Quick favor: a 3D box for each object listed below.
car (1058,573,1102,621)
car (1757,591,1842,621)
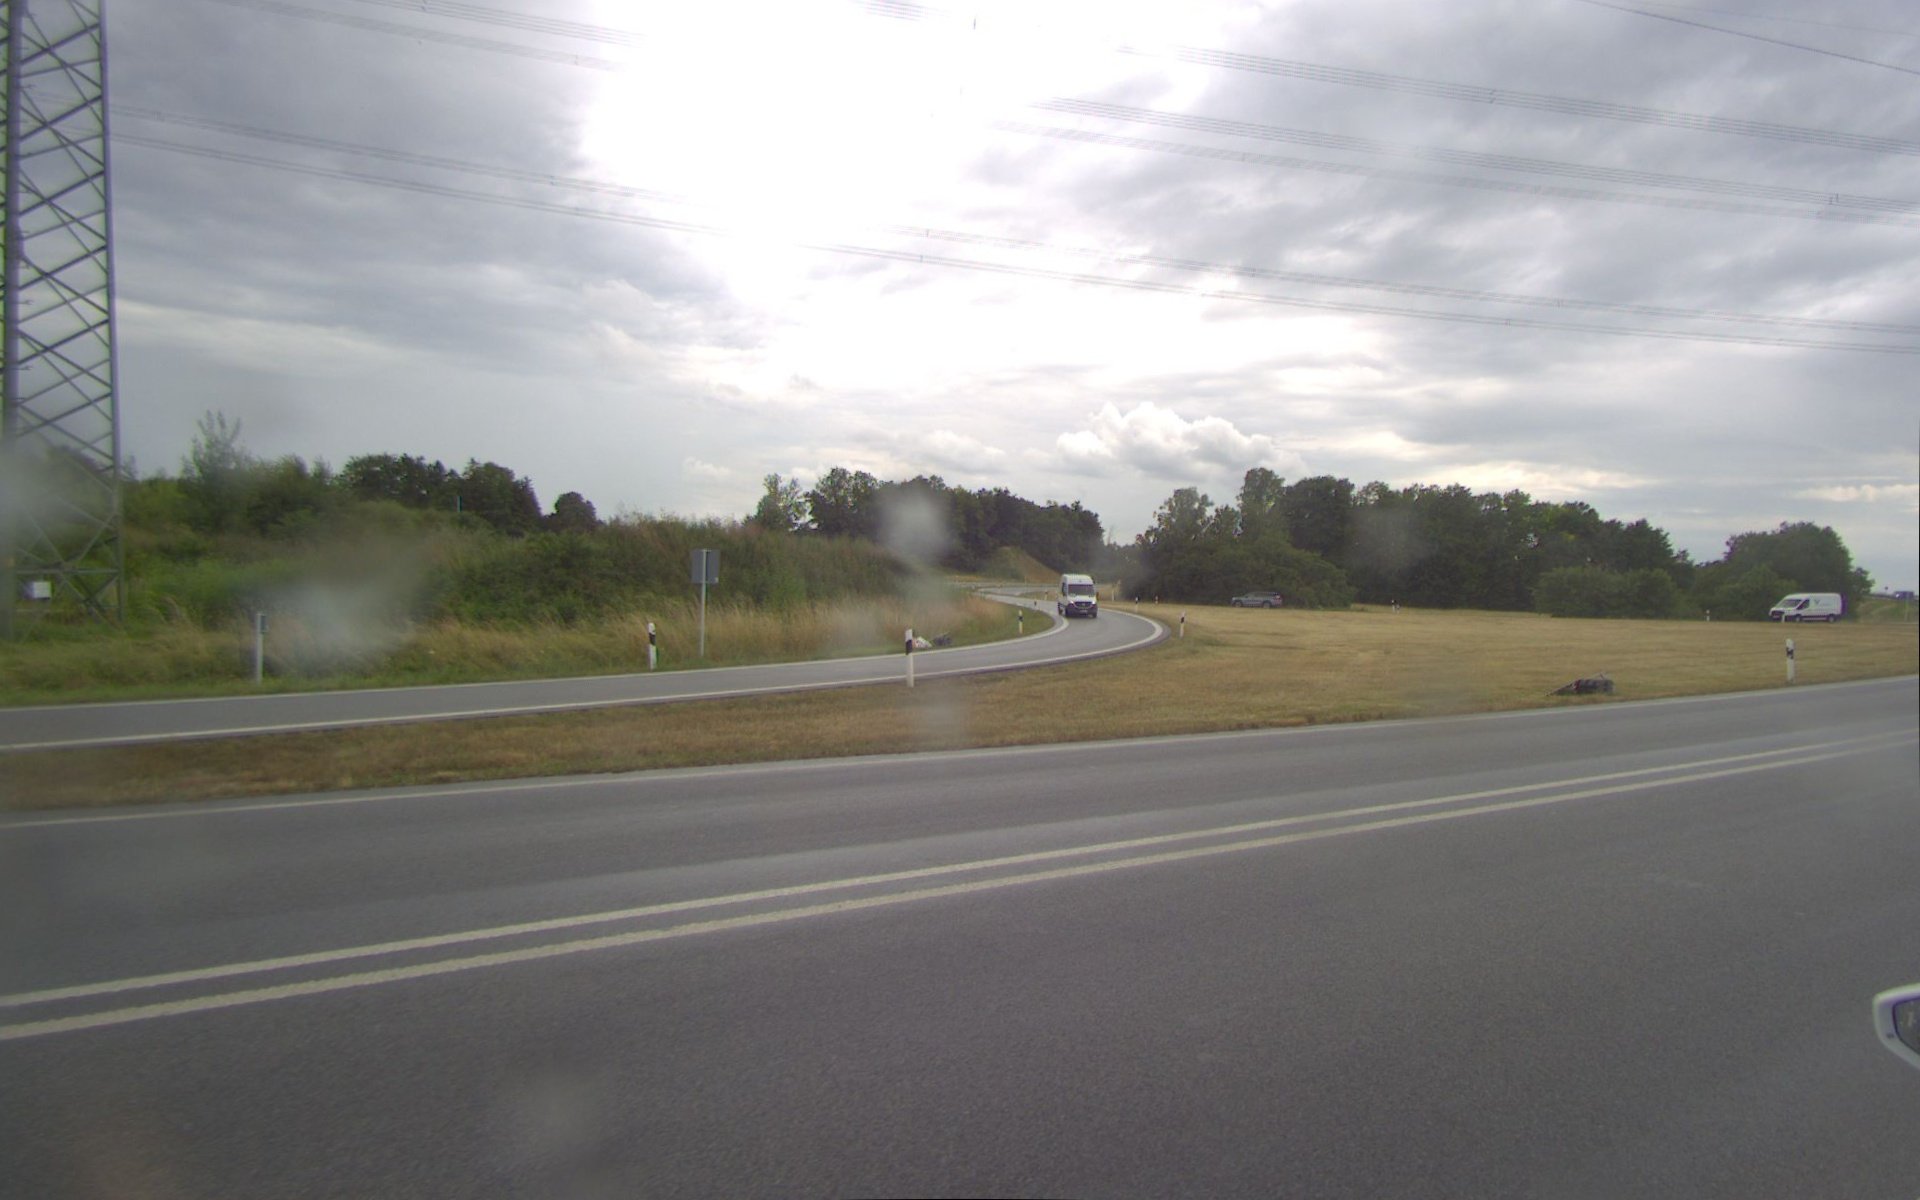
[{"bbox_3d":[7.741,-0.268,65.183,2.171,2.785,6.022,5,2,2],"label":"car"},{"bbox_3d":[69.299,0.495,82.942,5.369,2.423,2.438,0,1,-8],"label":"car"}]
